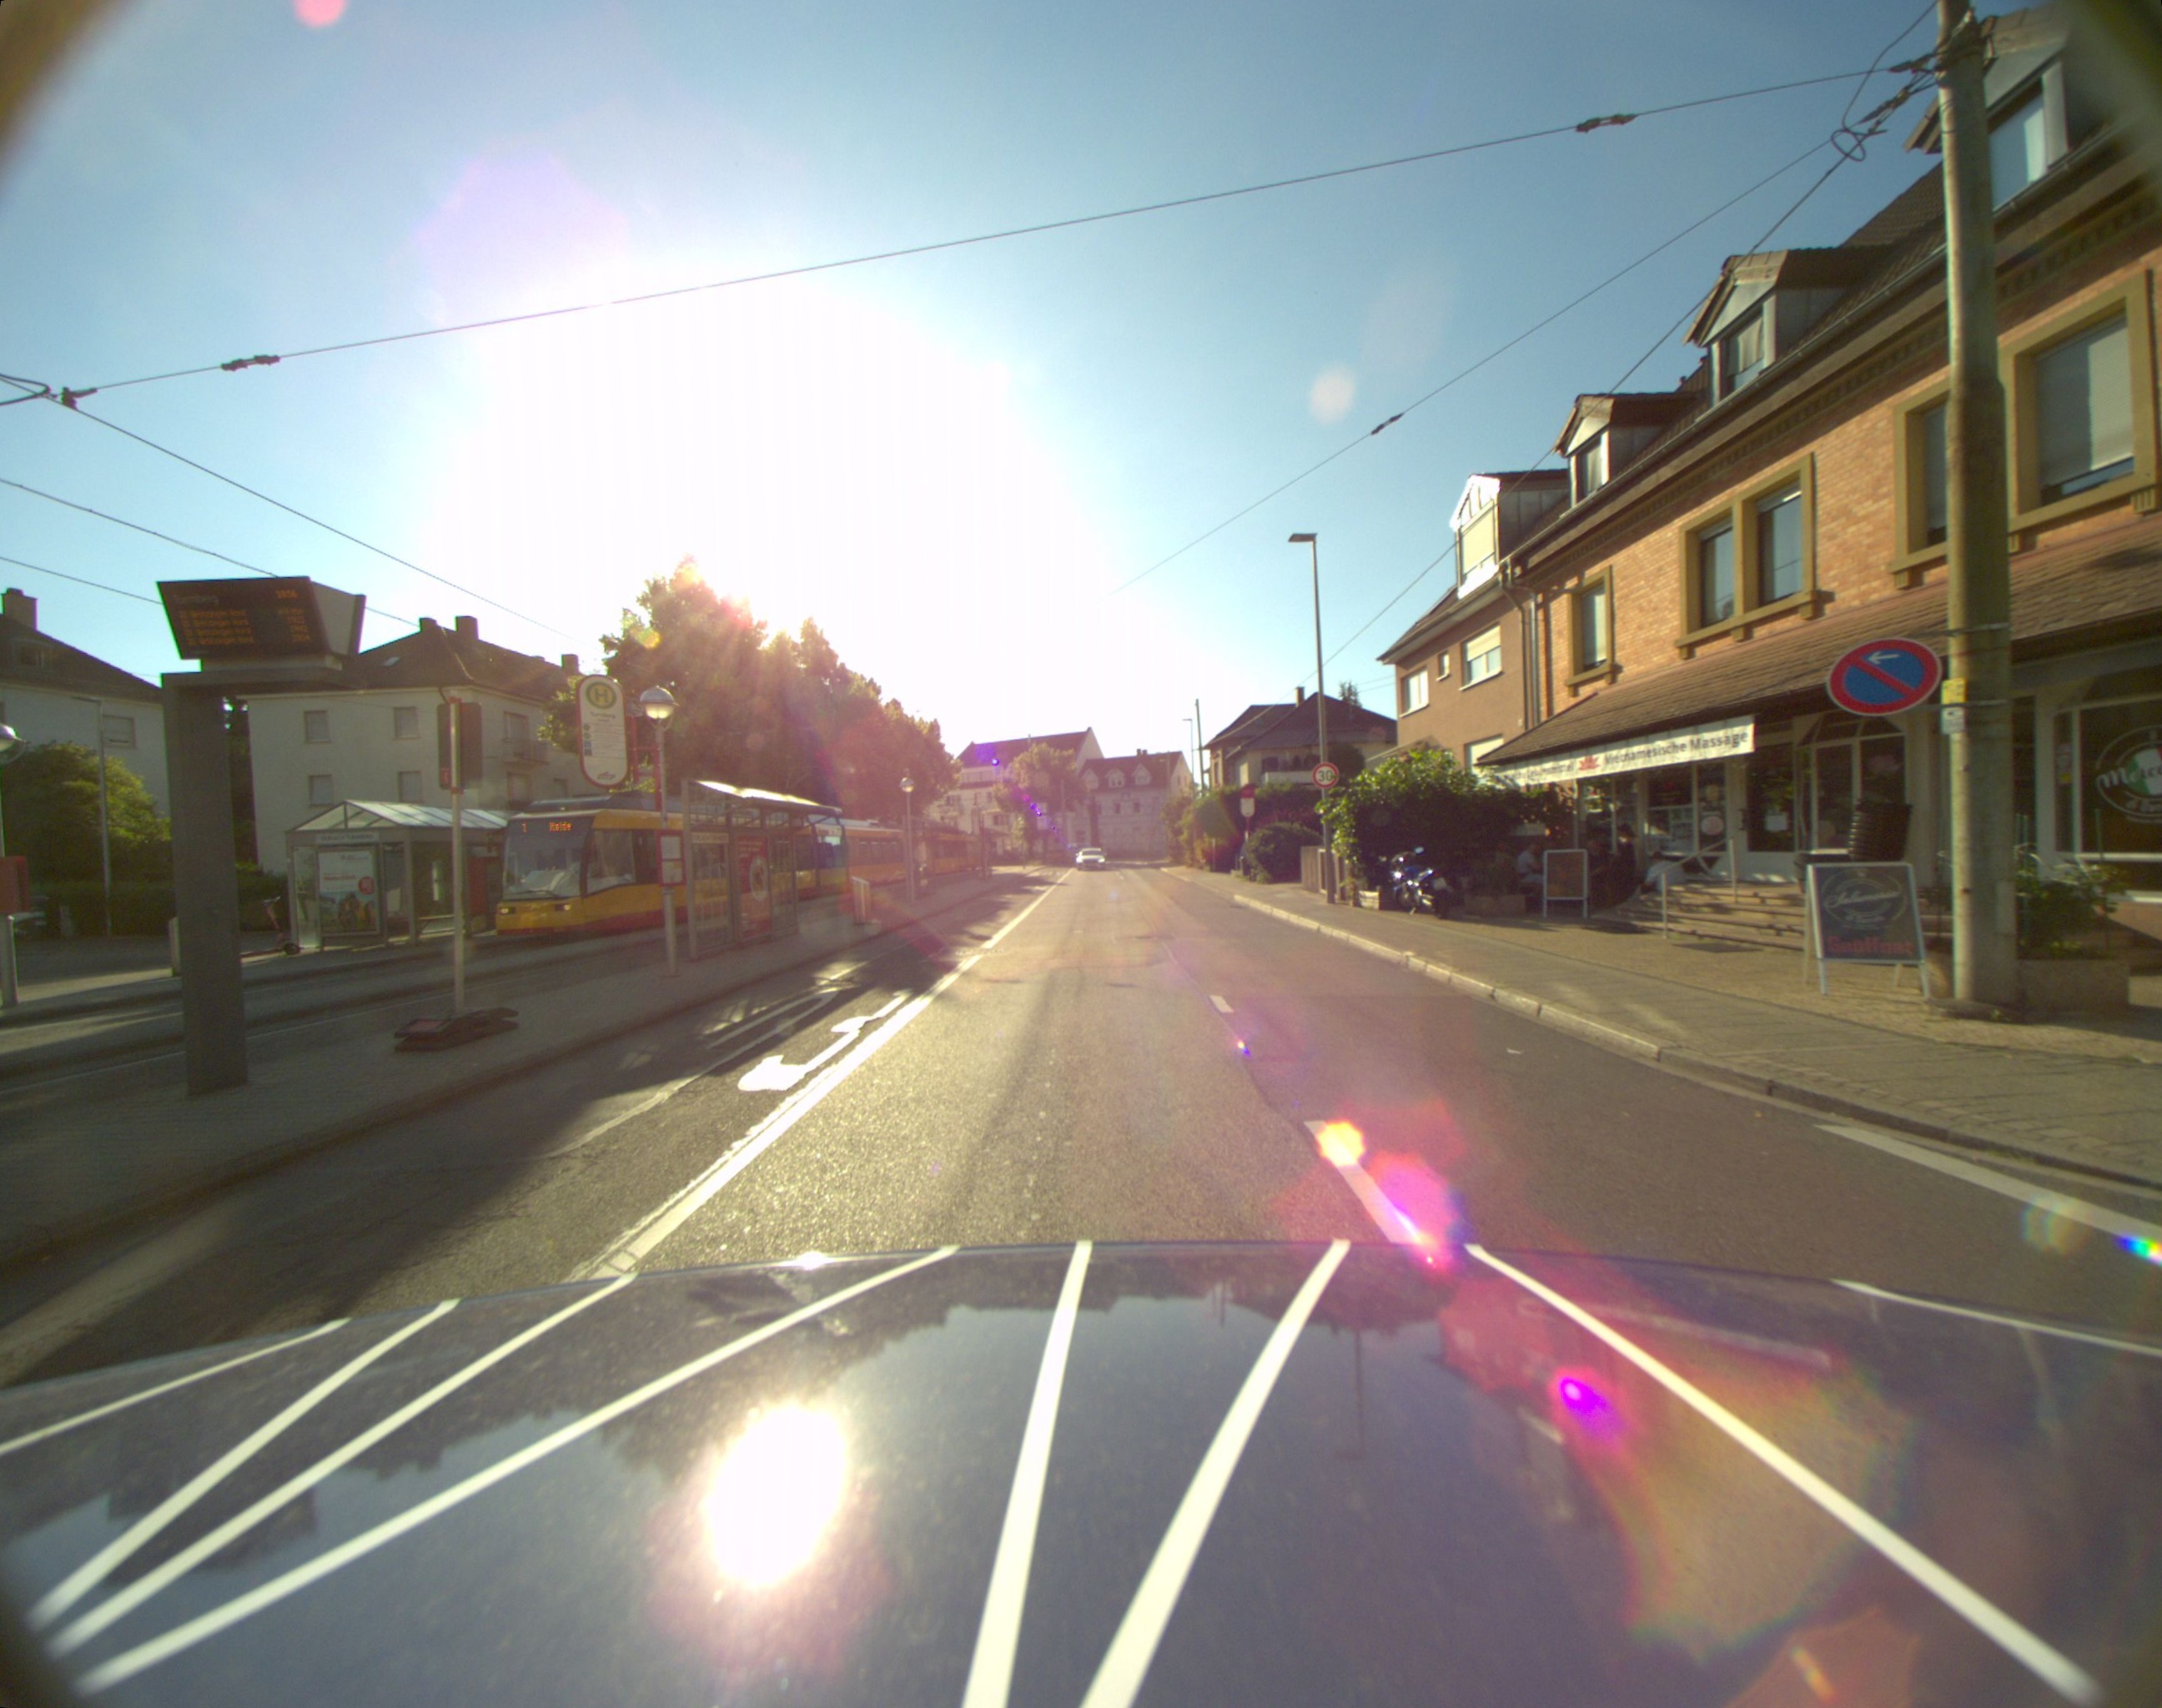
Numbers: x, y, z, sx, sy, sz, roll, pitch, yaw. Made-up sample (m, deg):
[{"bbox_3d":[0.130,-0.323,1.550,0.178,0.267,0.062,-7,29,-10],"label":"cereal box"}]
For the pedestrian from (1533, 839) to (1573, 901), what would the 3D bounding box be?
[{"bbox_3d":[9.788,0.330,15.768,0.524,1.251,0.465,-2,1,3],"label":"pedestrian"}]

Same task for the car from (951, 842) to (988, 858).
[{"bbox_3d":[-14.871,-0.509,101.331,4.263,1.945,2.003,-1,1,21],"label":"car"}]

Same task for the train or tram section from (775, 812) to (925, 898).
[{"bbox_3d":[-10.952,-0.145,38.234,2.964,3.514,13.461,-2,2,2],"label":"train or tram section"}]

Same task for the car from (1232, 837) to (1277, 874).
[{"bbox_3d":[9.432,0.027,41.578,1.704,1.804,3.671,4,1,3],"label":"car"}]

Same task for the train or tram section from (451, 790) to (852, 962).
[{"bbox_3d":[-11.340,0.251,23.786,2.964,3.514,15.966,-2,2,2],"label":"train or tram section"}]

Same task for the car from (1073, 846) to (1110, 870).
[{"bbox_3d":[0.749,0.240,50.709,1.998,1.454,4.450,-2,0,6],"label":"car"}]

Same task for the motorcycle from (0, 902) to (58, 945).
[{"bbox_3d":[-30.937,2.021,21.977,1.826,1.155,0.558,-2,1,-1],"label":"motorcycle"}]

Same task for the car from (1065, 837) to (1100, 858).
[{"bbox_3d":[0.121,-0.662,80.084,1.874,1.922,4.784,-4,0,-22],"label":"car"}]

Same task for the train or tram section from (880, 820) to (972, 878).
[{"bbox_3d":[-10.460,-0.382,53.673,2.965,3.402,15.938,-2,0,1],"label":"train or tram section"}]

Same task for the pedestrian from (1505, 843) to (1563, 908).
[{"bbox_3d":[8.972,0.412,15.074,0.746,1.236,0.667,-2,1,5],"label":"pedestrian"}]

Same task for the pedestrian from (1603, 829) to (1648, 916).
[{"bbox_3d":[9.956,0.325,13.904,0.465,1.552,0.502,-1,2,3],"label":"pedestrian"}]

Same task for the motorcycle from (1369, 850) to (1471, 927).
[{"bbox_3d":[6.349,0.596,14.384,0.841,1.275,2.231,-3,1,-1],"label":"motorcycle"}]

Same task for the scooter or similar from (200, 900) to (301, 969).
[{"bbox_3d":[-16.259,1.558,14.902,0.466,1.201,1.210,-2,1,13],"label":"scooter or similar"}]

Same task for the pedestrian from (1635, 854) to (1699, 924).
[{"bbox_3d":[9.751,0.570,12.656,0.564,1.103,0.632,-2,1,2],"label":"pedestrian"}]

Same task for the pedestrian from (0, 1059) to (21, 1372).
[{"bbox_3d":[-3.971,1.026,2.379,0.547,1.603,0.548,-3,1,-36],"label":"pedestrian"}]

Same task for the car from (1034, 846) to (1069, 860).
[{"bbox_3d":[-3.745,-0.140,96.539,4.196,1.454,1.610,-4,0,33],"label":"car"}]

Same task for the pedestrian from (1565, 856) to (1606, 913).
[{"bbox_3d":[9.630,0.567,14.498,0.525,1.041,0.383,-3,1,-15],"label":"pedestrian"}]

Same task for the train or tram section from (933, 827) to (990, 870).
[{"bbox_3d":[-10.431,-0.483,67.797,2.965,3.402,13.462,-2,0,0],"label":"train or tram section"}]
